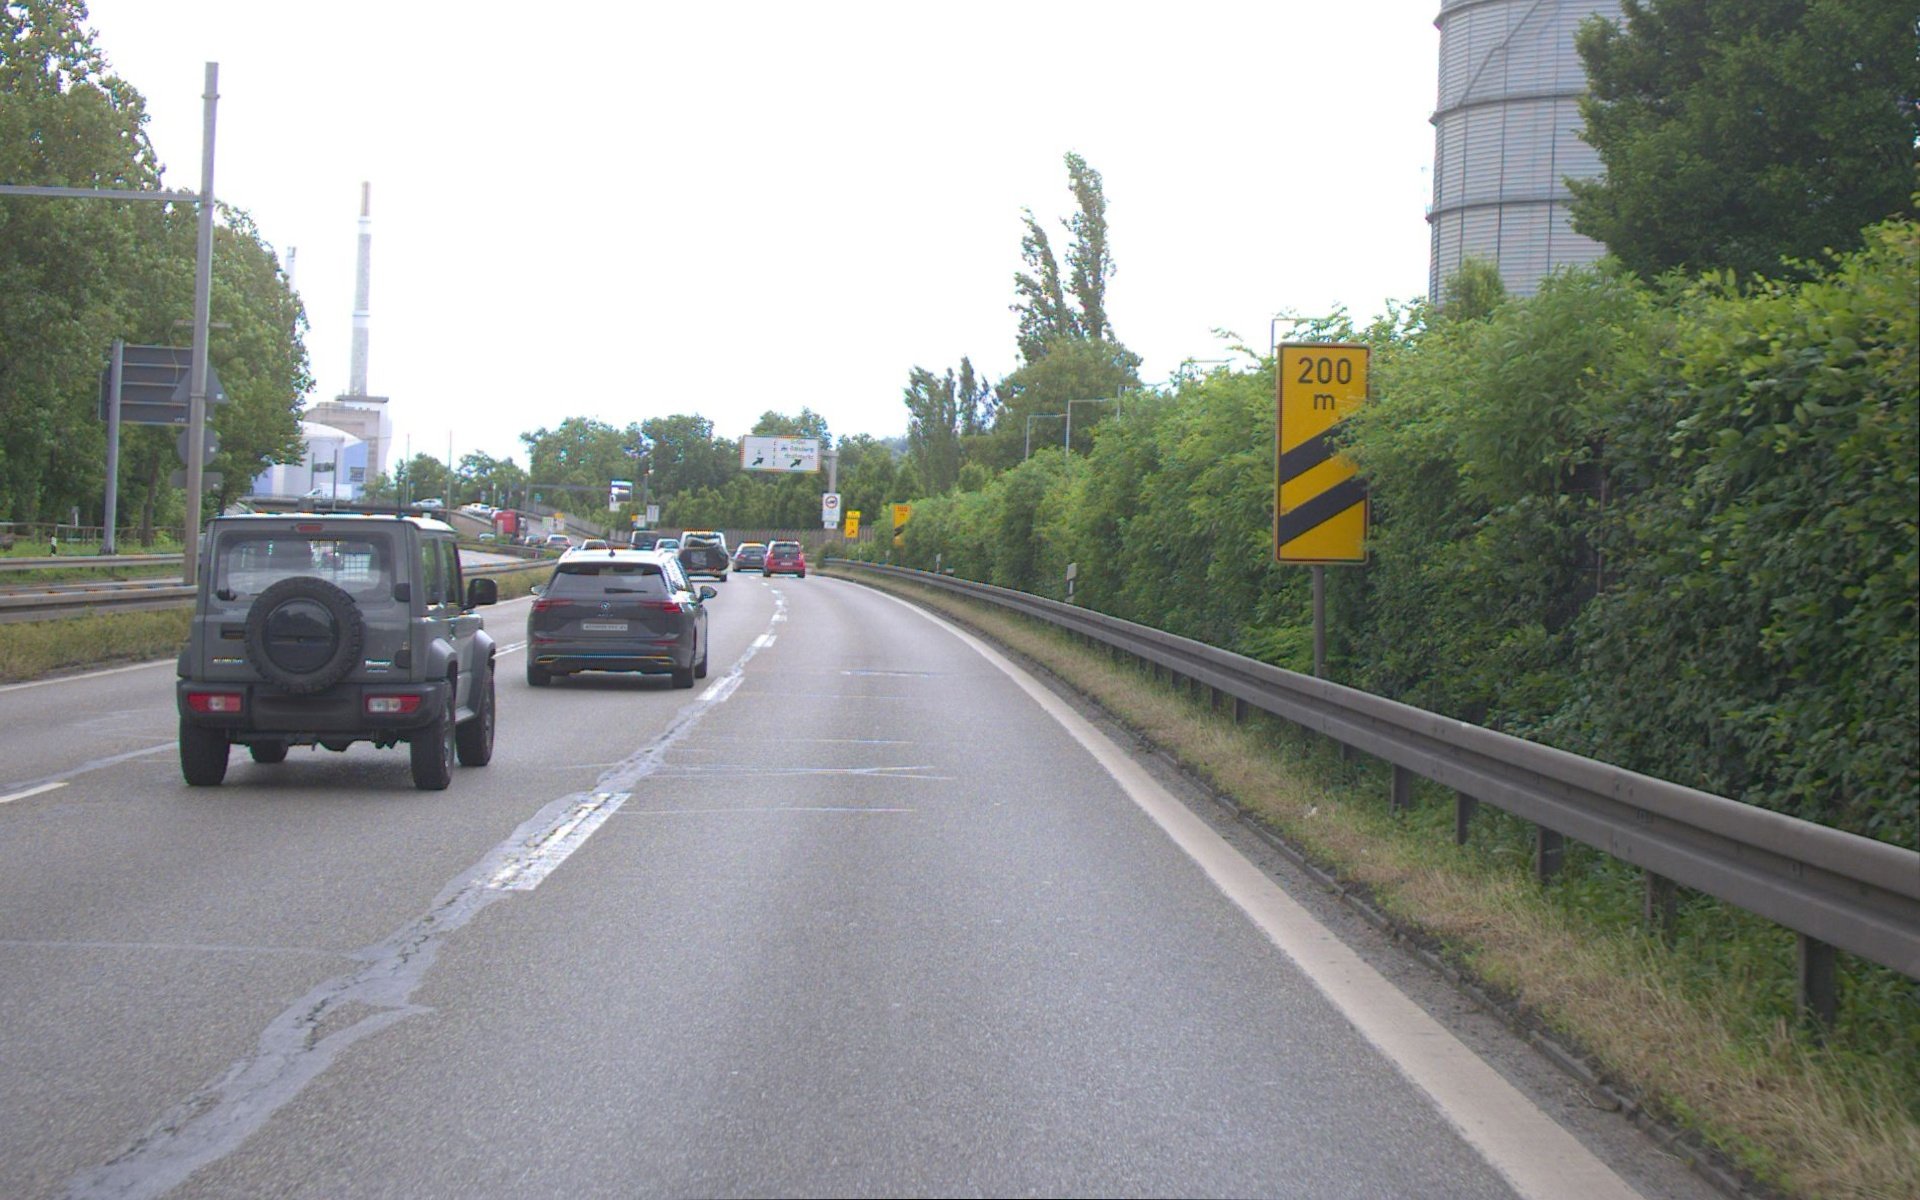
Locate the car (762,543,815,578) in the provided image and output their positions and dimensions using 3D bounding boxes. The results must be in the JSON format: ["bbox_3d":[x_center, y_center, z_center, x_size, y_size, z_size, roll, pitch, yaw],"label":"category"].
[{"bbox_3d":[-7.342,-1.687,146.863,1.974,1.418,4.901,1,1,-5],"label":"car"}]

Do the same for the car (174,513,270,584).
[{"bbox_3d":[-19.333,-1.345,90.218,1.726,1.768,3.742,2,1,-1],"label":"car"}]

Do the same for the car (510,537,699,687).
[{"bbox_3d":[-3.780,0.076,37.175,1.844,1.418,4.901,3,1,-4],"label":"car"}]

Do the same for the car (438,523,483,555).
[{"bbox_3d":[-23.055,-2.831,158.786,1.660,1.419,3.912,2,1,-3],"label":"car"}]

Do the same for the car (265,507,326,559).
[{"bbox_3d":[-25.305,-2.541,131.024,1.610,1.877,4.562,2,1,-3],"label":"car"}]

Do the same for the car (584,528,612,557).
[{"bbox_3d":[-22.587,-3.581,214.656,1.697,1.736,4.394,1,1,-6],"label":"car"}]

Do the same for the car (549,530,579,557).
[{"bbox_3d":[-29.393,-4.177,255.120,2.013,1.927,4.902,1,1,-9],"label":"car"}]

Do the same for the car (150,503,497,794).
[{"bbox_3d":[-4.024,0.245,22.285,1.697,1.680,4.001,1,1,-3],"label":"car"}]

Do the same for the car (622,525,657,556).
[{"bbox_3d":[-20.628,-3.804,221.298,2.013,1.927,4.902,1,1,-7],"label":"car"}]

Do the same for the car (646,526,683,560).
[{"bbox_3d":[-17.448,-3.366,202.892,2.013,1.927,4.902,1,1,-6],"label":"car"}]

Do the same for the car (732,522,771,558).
[{"bbox_3d":[-10.458,-2.983,171.923,1.697,1.736,4.394,1,1,-6],"label":"car"}]

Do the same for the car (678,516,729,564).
[{"bbox_3d":[-9.653,-2.251,129.498,1.697,1.736,4.000,1,1,-1],"label":"car"}]
